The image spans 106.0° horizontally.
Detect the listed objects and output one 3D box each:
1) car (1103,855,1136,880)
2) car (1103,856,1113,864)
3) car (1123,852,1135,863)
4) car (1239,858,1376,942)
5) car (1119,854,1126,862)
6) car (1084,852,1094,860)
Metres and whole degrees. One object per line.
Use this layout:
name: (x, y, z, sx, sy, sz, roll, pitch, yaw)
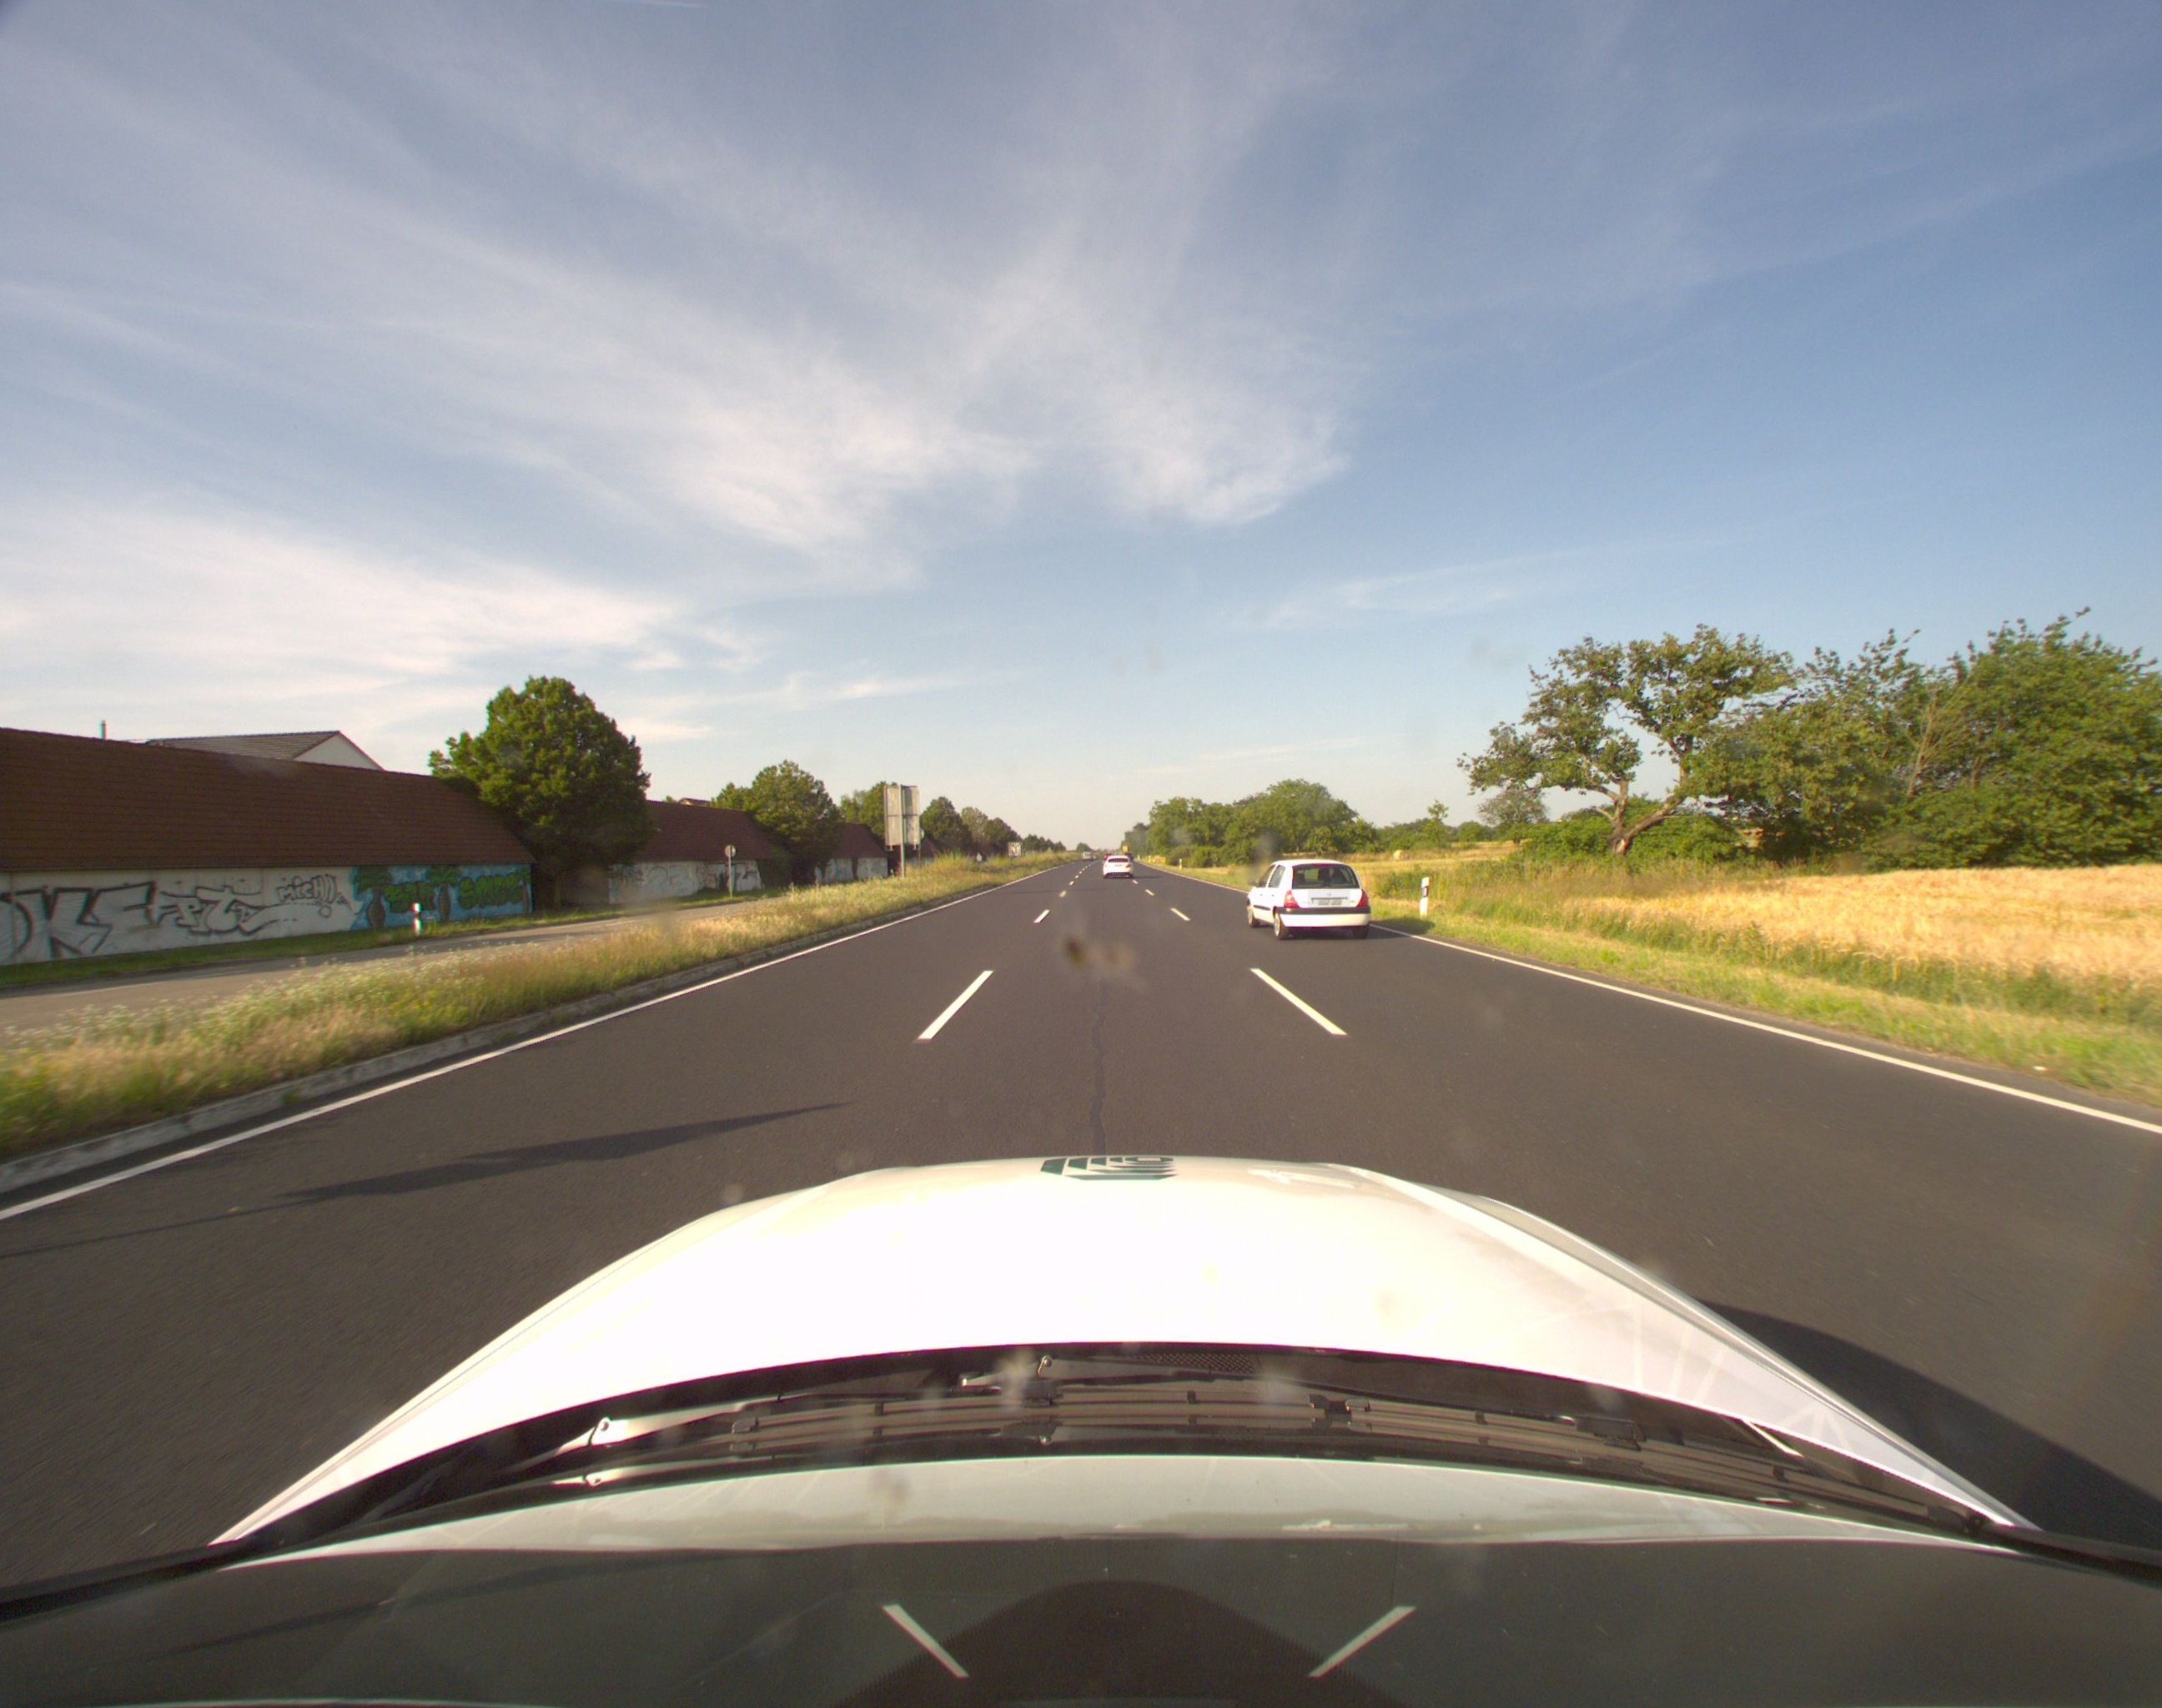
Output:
car: (2.426, 0.859, 52.061, 1.986, 1.516, 4.002, -1, -1, 2)
car: (5.028, 1.102, 151.848, 1.805, 1.436, 3.859, -1, -1, 1)
car: (7.543, 0.543, 127.964, 1.821, 1.728, 4.001, -1, -1, 2)
car: (4.158, 0.792, 15.560, 1.611, 1.387, 3.952, -1, -1, 2)
car: (10.988, 1.037, 214.401, 1.795, 1.904, 3.562, -1, -1, 3)
car: (1.585, 0.406, 156.864, 1.751, 1.618, 4.004, -1, -1, 4)
